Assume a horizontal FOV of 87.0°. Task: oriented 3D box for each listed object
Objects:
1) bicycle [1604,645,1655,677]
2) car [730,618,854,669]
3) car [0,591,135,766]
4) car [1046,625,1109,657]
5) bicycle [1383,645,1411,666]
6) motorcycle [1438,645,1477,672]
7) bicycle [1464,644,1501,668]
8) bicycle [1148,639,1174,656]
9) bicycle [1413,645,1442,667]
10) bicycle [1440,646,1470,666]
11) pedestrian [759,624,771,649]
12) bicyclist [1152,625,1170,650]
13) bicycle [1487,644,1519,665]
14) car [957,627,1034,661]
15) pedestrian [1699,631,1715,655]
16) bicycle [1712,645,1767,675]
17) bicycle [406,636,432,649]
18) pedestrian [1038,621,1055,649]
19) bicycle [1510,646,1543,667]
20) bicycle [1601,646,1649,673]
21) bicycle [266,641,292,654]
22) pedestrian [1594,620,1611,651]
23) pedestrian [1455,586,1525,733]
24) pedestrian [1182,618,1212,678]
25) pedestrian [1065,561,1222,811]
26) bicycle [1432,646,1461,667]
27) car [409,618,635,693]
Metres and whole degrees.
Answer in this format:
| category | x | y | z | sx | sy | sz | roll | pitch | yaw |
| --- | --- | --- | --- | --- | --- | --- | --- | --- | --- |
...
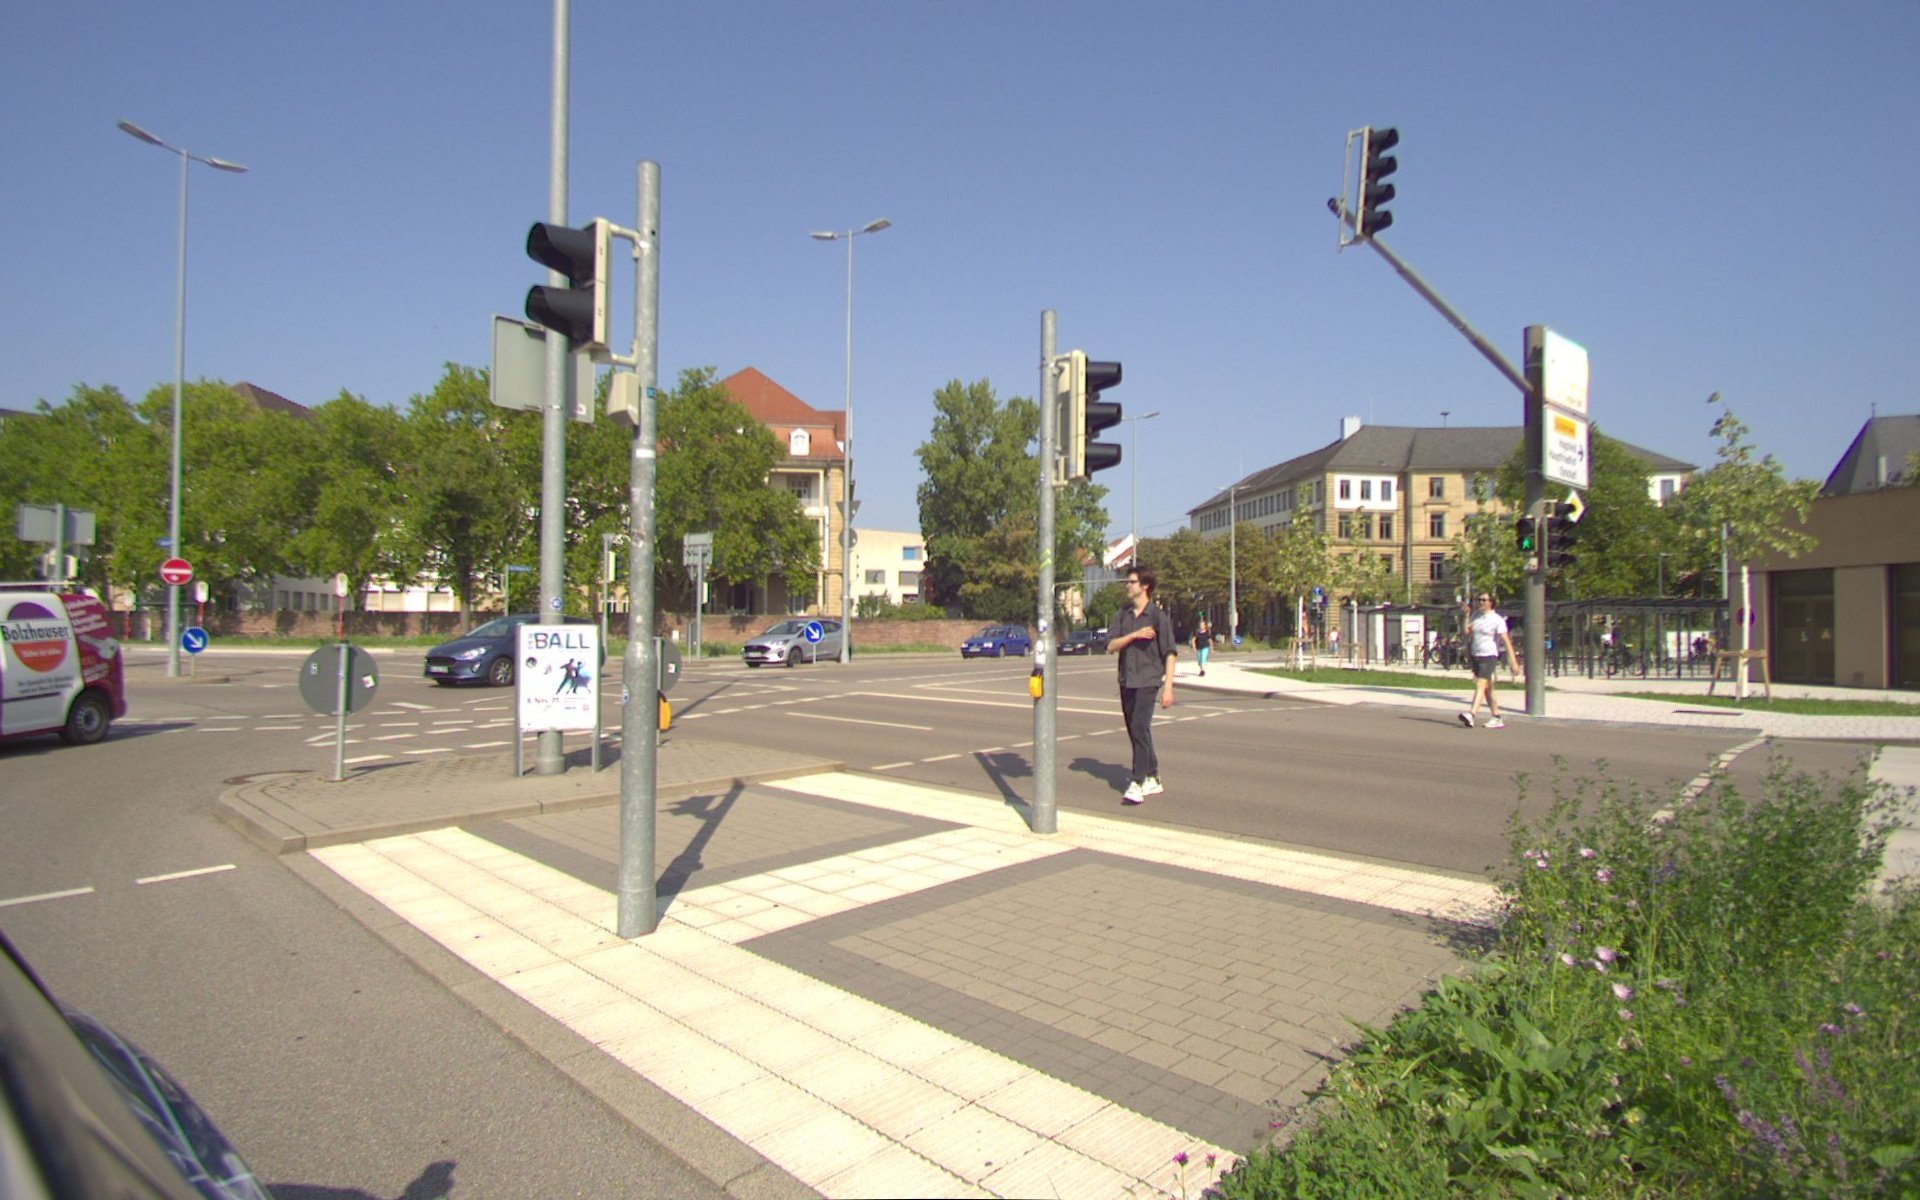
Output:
| category | x | y | z | sx | sy | sz | roll | pitch | yaw |
| --- | --- | --- | --- | --- | --- | --- | --- | --- | --- |
| bicycle | 22.621 | 2.045 | 34.236 | 0.395 | 1.017 | 1.748 | 1 | -2 | -6 |
| car | -4.982 | 1.286 | 30.466 | 1.714 | 1.444 | 3.822 | -1 | -2 | 29 |
| car | -10.848 | 0.817 | 10.179 | 1.712 | 1.833 | 4.279 | 0 | -1 | -2 |
| car | 6.120 | 2.087 | 52.349 | 1.991 | 1.564 | 3.961 | -1 | -2 | 28 |
| bicycle | 19.789 | 2.512 | 45.865 | 0.395 | 0.899 | 1.590 | 0 | -2 | -6 |
| motorcycle | 19.552 | 2.292 | 39.800 | 0.535 | 1.017 | 1.748 | 1 | -2 | -6 |
| bicycle | 22.620 | 2.415 | 43.835 | 0.525 | 0.994 | 1.716 | 1 | -2 | -6 |
| bicycle | 15.024 | 3.574 | 75.660 | 0.884 | 1.214 | 3.045 | -4 | -4 | 31 |
| bicycle | 21.122 | 2.515 | 45.744 | 0.415 | 0.975 | 1.590 | 1 | -2 | -6 |
| bicycle | 22.477 | 2.524 | 45.962 | 0.403 | 0.899 | 1.590 | 1 | -2 | -6 |
| pedestrian | -13.286 | 2.519 | 69.019 | 0.707 | 1.696 | 0.595 | 0 | -2 | -3 |
| bicyclist | 15.042 | 2.807 | 75.776 | 0.884 | 1.759 | 1.354 | -4 | -4 | 32 |
| bicycle | 23.514 | 2.363 | 43.839 | 0.403 | 0.899 | 1.590 | 1 | -2 | -6 |
| car | 1.554 | 1.819 | 42.598 | 1.600 | 1.339 | 4.293 | -1 | -2 | 27 |
| pedestrian | 38.577 | 2.225 | 52.257 | 0.433 | 1.234 | 0.383 | -2 | -3 | -5 |
| bicycle | 27.456 | 2.114 | 35.674 | 0.395 | 1.017 | 1.748 | 1 | -2 | -6 |
| bicycle | -36.902 | 2.905 | 69.027 | 1.530 | 0.842 | 0.433 | 0 | -2 | 4 |
| pedestrian | 6.393 | 2.601 | 74.958 | 0.821 | 2.029 | 0.895 | -5 | -5 | 42 |
| bicycle | 24.859 | 2.478 | 44.402 | 0.403 | 0.899 | 1.590 | 1 | -2 | -6 |
| bicycle | 25.706 | 2.289 | 39.156 | 0.454 | 1.017 | 1.877 | 1 | -2 | -6 |
| bicycle | -47.063 | 3.289 | 69.957 | 1.531 | 0.842 | 0.433 | 0 | -2 | 7 |
| pedestrian | 36.532 | 2.034 | 57.547 | 0.713 | 1.762 | 0.385 | -1 | -3 | 27 |
| pedestrian | 6.881 | 0.759 | 13.171 | 0.563 | 1.847 | 0.693 | 0 | -2 | 6 |
| pedestrian | 6.263 | 1.259 | 26.764 | 0.746 | 1.577 | 0.665 | 0 | -2 | 11 |
| pedestrian | 1.483 | 0.642 | 8.148 | 1.066 | 1.854 | 0.731 | 1 | -1 | -42 |
| bicycle | 21.939 | 2.531 | 45.701 | 0.395 | 0.899 | 1.590 | 1 | -2 | -6 |
| car | -9.251 | 1.120 | 21.718 | 1.636 | 1.438 | 4.273 | -1 | -1 | 33 |
